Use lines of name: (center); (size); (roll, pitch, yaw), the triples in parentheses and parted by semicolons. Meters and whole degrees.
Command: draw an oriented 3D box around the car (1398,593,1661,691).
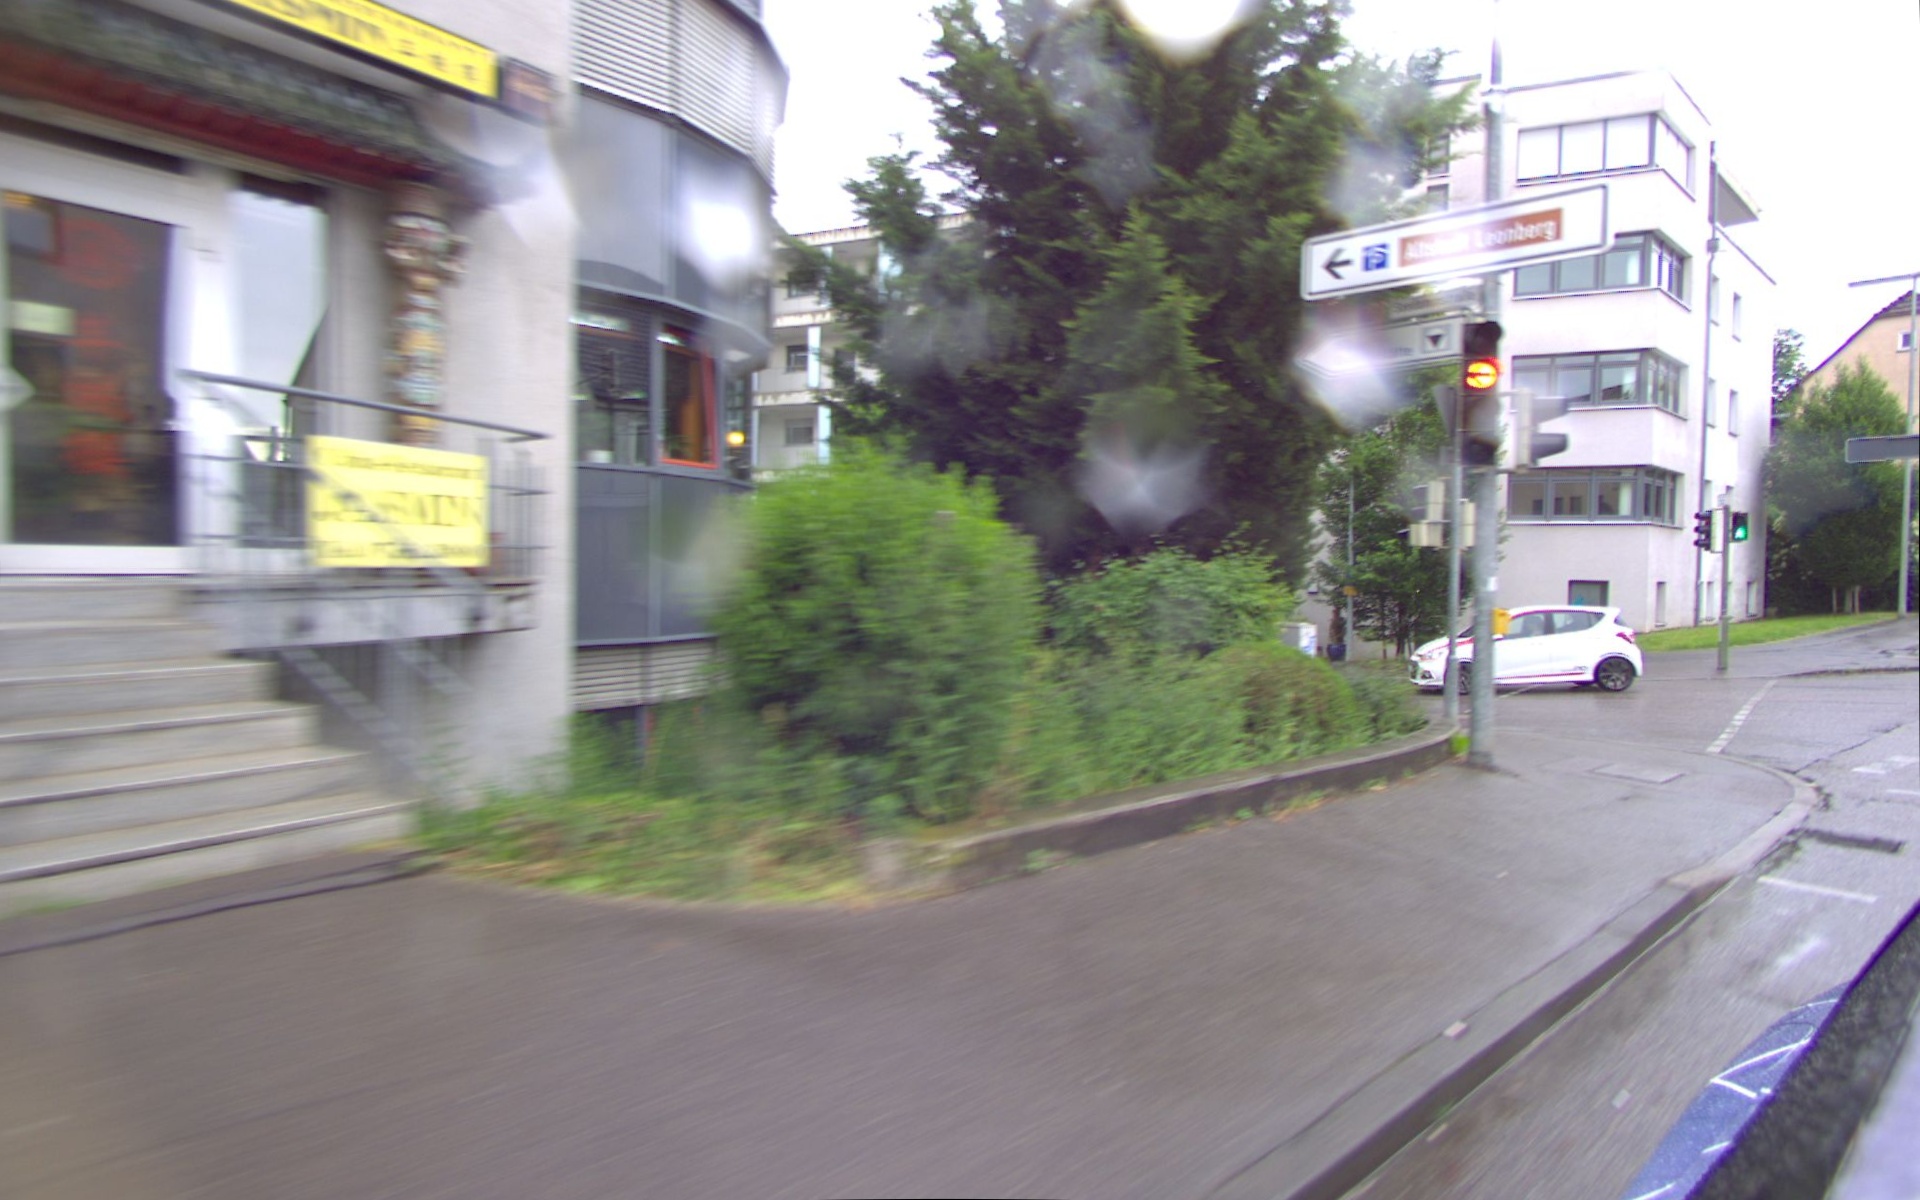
car: (10.075, 0.742, 18.225); (3.710, 1.471, 1.704); (-4, -1, 16)
